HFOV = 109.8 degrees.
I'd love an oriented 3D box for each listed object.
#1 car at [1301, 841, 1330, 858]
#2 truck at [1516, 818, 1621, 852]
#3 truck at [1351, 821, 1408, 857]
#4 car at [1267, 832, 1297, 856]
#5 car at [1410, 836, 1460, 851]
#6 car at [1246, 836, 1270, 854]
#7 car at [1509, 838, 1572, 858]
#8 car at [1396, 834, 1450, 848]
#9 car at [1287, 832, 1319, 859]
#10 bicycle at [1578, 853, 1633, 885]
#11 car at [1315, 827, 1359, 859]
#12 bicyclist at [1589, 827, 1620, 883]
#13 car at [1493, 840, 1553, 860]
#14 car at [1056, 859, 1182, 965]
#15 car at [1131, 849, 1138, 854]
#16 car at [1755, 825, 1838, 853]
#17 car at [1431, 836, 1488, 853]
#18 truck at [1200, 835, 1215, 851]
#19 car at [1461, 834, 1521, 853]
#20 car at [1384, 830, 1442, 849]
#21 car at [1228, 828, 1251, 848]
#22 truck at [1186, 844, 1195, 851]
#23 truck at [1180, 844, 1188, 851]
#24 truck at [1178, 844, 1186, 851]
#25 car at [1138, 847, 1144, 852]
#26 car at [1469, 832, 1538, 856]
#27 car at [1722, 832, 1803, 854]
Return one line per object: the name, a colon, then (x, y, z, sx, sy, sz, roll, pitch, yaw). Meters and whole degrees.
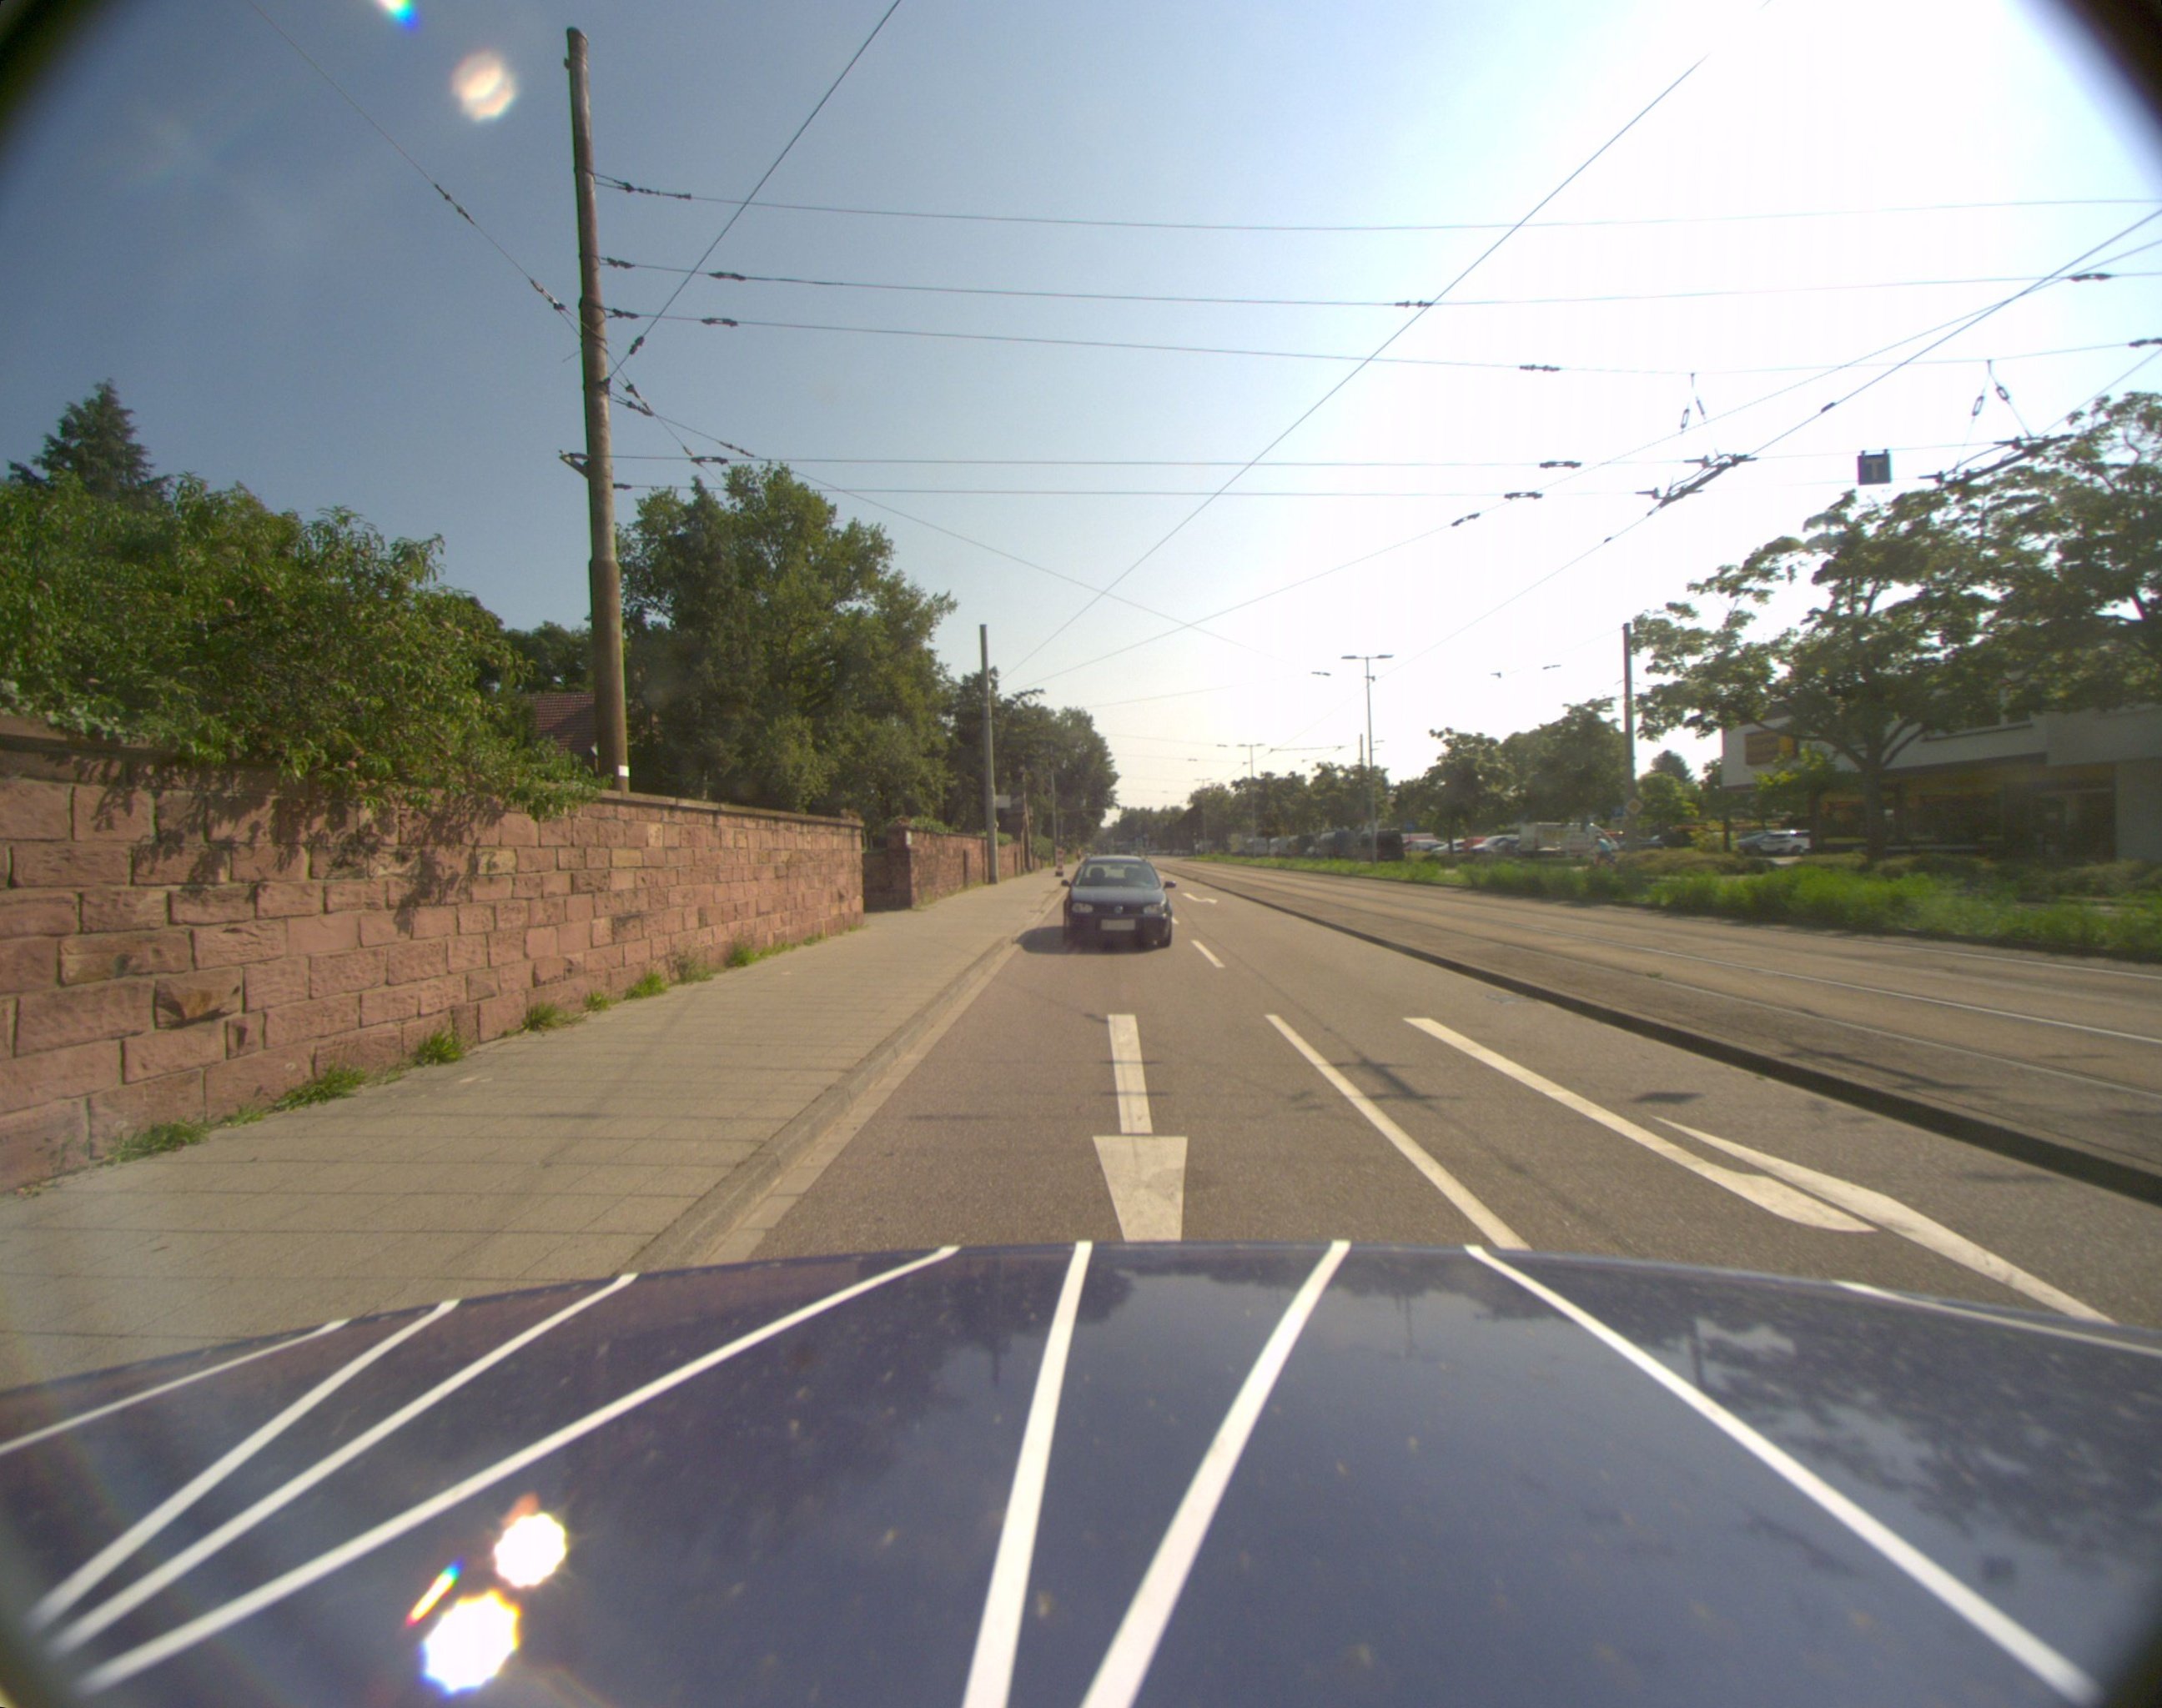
car: (22.332, -0.451, 72.515, 1.748, 1.543, 3.834, -2, 1, 5)
truck: (32.370, -1.246, 50.531, 5.503, 2.160, 2.259, 0, 1, 1)
truck: (21.962, -1.092, 56.151, 2.086, 2.533, 5.738, 0, 1, 1)
car: (22.902, -1.135, 86.613, 2.137, 2.571, 5.631, 0, 1, 3)
car: (33.224, -0.982, 71.319, 3.933, 1.442, 1.633, 0, 1, 1)
car: (23.474, -1.199, 100.883, 2.148, 2.444, 4.831, 0, 1, 1)
car: (32.100, -0.416, 53.116, 3.413, 1.418, 1.633, 0, 1, 1)
car: (34.393, -1.289, 76.450, 4.665, 1.442, 1.633, 0, 1, 1)
car: (22.856, -0.837, 78.507, 1.826, 2.571, 5.910, -3, 0, 3)
bicycle: (19.237, 0.515, 27.938, 0.716, 1.085, 2.266, 0, 1, 8)
car: (22.147, -0.987, 66.100, 1.993, 2.571, 6.467, -3, 1, 4)
bicyclist: (19.247, 0.032, 27.946, 0.638, 2.052, 0.775, 0, 1, 7)
car: (32.182, -0.320, 55.334, 3.413, 1.418, 1.633, 0, 1, 1)
car: (0.643, 0.836, 12.773, 1.775, 1.416, 3.935, 0, 1, 3)
car: (15.271, -0.700, 217.282, 1.726, 1.317, 4.000, 0, 1, 2)
car: (44.666, -0.937, 47.455, 3.455, 1.494, 1.875, -4, 3, -1)
car: (32.812, -0.816, 65.938, 4.165, 1.455, 1.625, -1, 1, 4)
truck: (25.510, -2.170, 153.829, 2.278, 3.104, 8.788, 0, 1, 5)
car: (32.842, -0.814, 60.907, 3.933, 1.510, 1.633, 0, 1, 1)
car: (34.760, -1.533, 79.584, 5.197, 1.914, 2.052, 0, 1, 1)
car: (23.044, -2.292, 110.602, 2.129, 2.789, 7.231, 0, 1, 2)
truck: (26.501, -1.633, 184.199, 1.691, 1.665, 3.655, 0, 1, 2)
truck: (26.367, -1.626, 194.195, 1.691, 1.665, 3.655, 0, 1, 2)
truck: (26.453, -1.720, 198.402, 1.691, 1.665, 3.655, 0, 1, 2)
car: (20.006, -1.496, 251.691, 1.929, 1.511, 3.950, 0, 1, 4)
car: (32.348, -0.751, 58.267, 4.409, 1.774, 1.633, 0, 1, 1)
car: (44.373, -0.711, 49.527, 3.713, 1.335, 1.492, -1, 1, 9)
